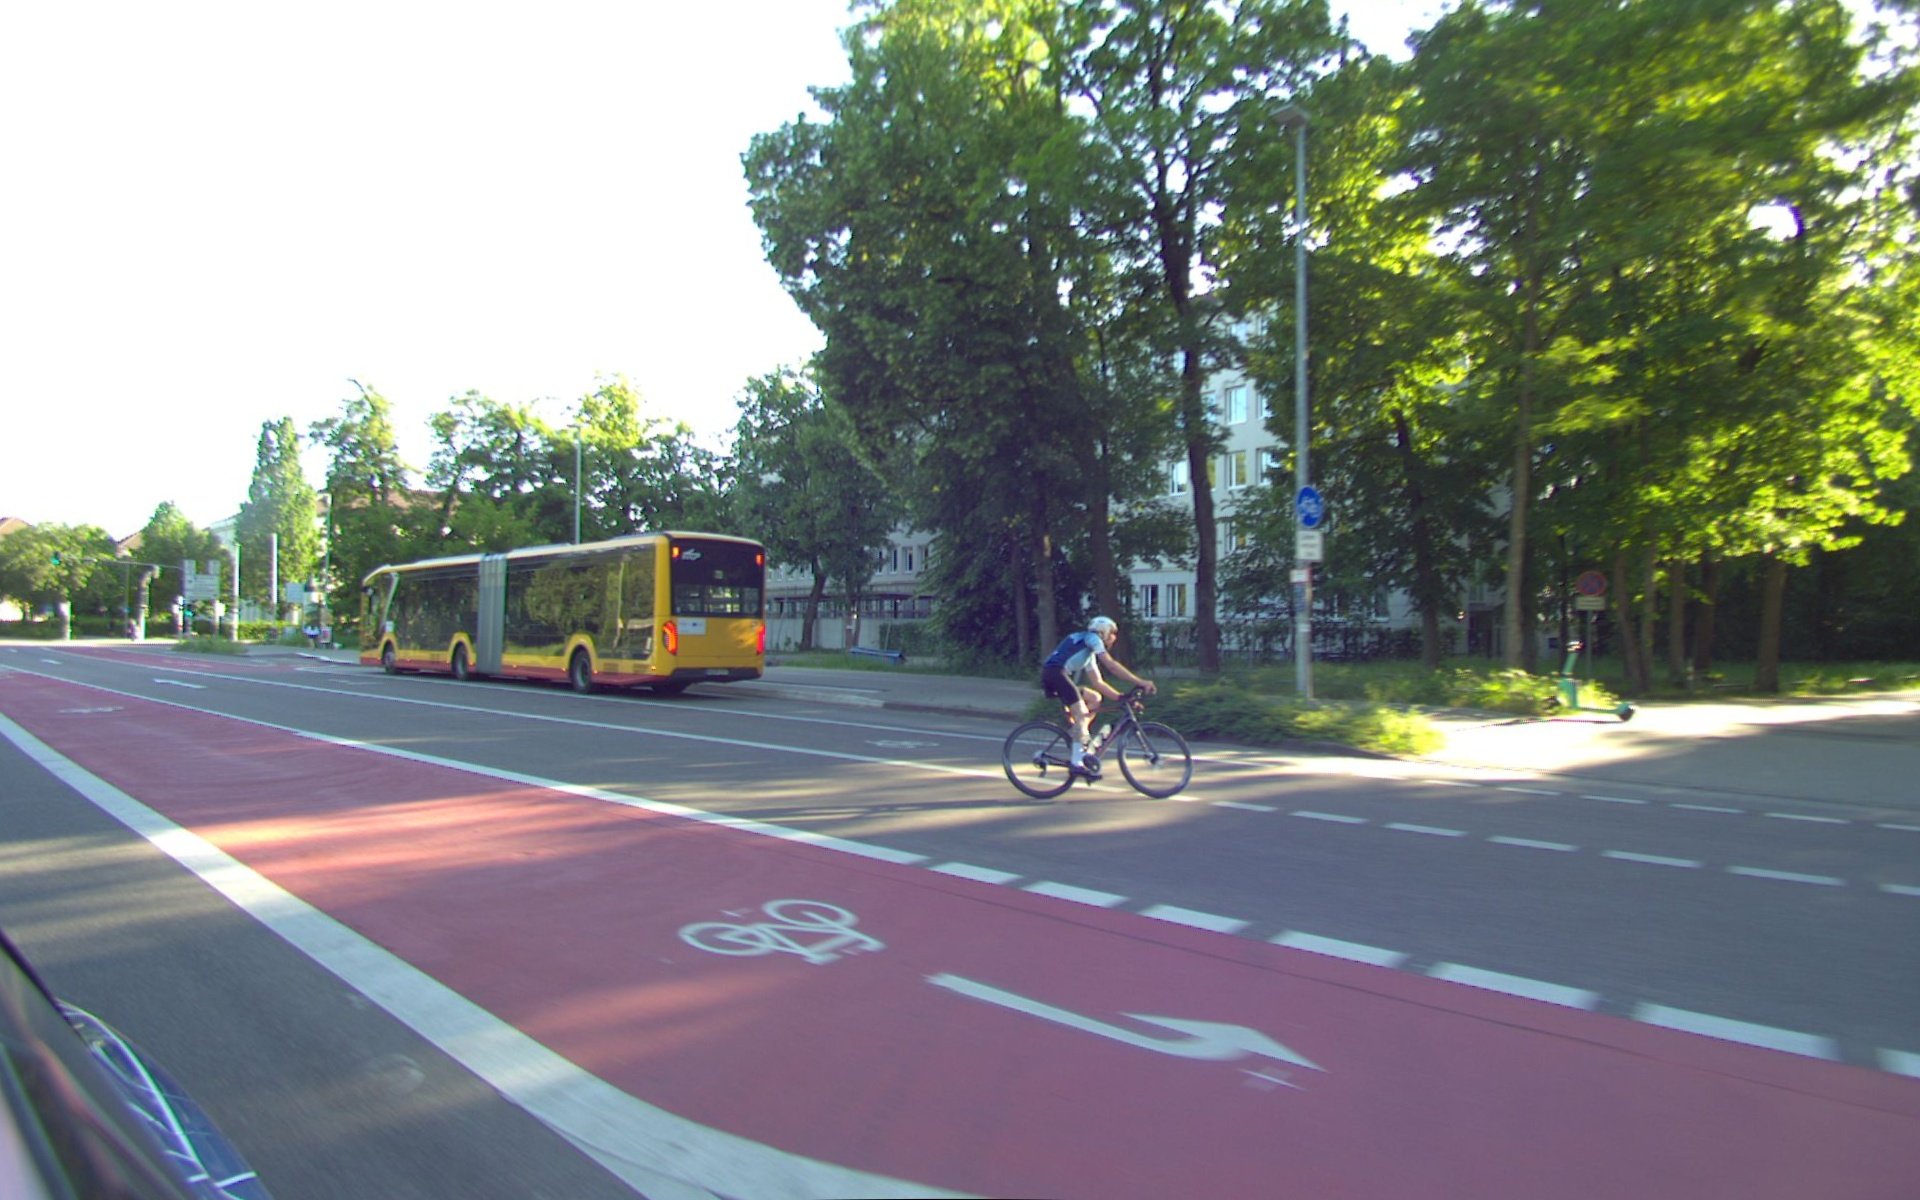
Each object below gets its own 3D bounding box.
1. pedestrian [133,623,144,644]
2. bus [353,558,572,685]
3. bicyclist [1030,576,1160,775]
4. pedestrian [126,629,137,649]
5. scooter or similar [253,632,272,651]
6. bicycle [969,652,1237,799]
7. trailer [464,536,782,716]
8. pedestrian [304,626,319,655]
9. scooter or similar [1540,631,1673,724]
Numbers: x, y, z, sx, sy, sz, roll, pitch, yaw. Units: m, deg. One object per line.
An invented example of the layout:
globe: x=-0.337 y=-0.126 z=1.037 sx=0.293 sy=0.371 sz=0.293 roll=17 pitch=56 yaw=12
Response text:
pedestrian: x=-72.848 y=2.996 z=89.771 sx=0.733 sy=1.830 sz=0.727 roll=2 pitch=-2 yaw=-40
bus: x=-14.704 y=0.655 z=29.505 sx=8.599 sy=3.221 sz=2.809 roll=-1 pitch=-2 yaw=43
bicyclist: x=1.129 y=0.620 z=8.673 sx=0.868 sy=1.579 sz=0.863 roll=-2 pitch=-1 yaw=-5
pedestrian: x=-70.556 y=3.293 z=86.184 sx=0.681 sy=1.694 sz=0.681 roll=2 pitch=-3 yaw=-40
scooter or similar: x=-47.976 y=2.838 z=69.620 sx=0.683 sy=1.304 sz=1.501 roll=1 pitch=-2 yaw=-19
bicycle: x=1.173 y=1.035 z=8.658 sx=2.104 sy=1.104 sz=0.895 roll=-1 pitch=-1 yaw=-4
trailer: x=-8.100 y=0.531 z=23.308 sx=9.363 sy=3.381 sz=2.823 roll=-1 pitch=0 yaw=43
pedestrian: x=-35.503 y=2.227 z=55.395 sx=0.570 sy=1.545 sz=0.447 roll=-1 pitch=-3 yaw=37
scooter or similar: x=9.711 y=1.130 z=15.231 sx=1.570 sy=1.320 sz=0.819 roll=-2 pitch=-2 yaw=42
